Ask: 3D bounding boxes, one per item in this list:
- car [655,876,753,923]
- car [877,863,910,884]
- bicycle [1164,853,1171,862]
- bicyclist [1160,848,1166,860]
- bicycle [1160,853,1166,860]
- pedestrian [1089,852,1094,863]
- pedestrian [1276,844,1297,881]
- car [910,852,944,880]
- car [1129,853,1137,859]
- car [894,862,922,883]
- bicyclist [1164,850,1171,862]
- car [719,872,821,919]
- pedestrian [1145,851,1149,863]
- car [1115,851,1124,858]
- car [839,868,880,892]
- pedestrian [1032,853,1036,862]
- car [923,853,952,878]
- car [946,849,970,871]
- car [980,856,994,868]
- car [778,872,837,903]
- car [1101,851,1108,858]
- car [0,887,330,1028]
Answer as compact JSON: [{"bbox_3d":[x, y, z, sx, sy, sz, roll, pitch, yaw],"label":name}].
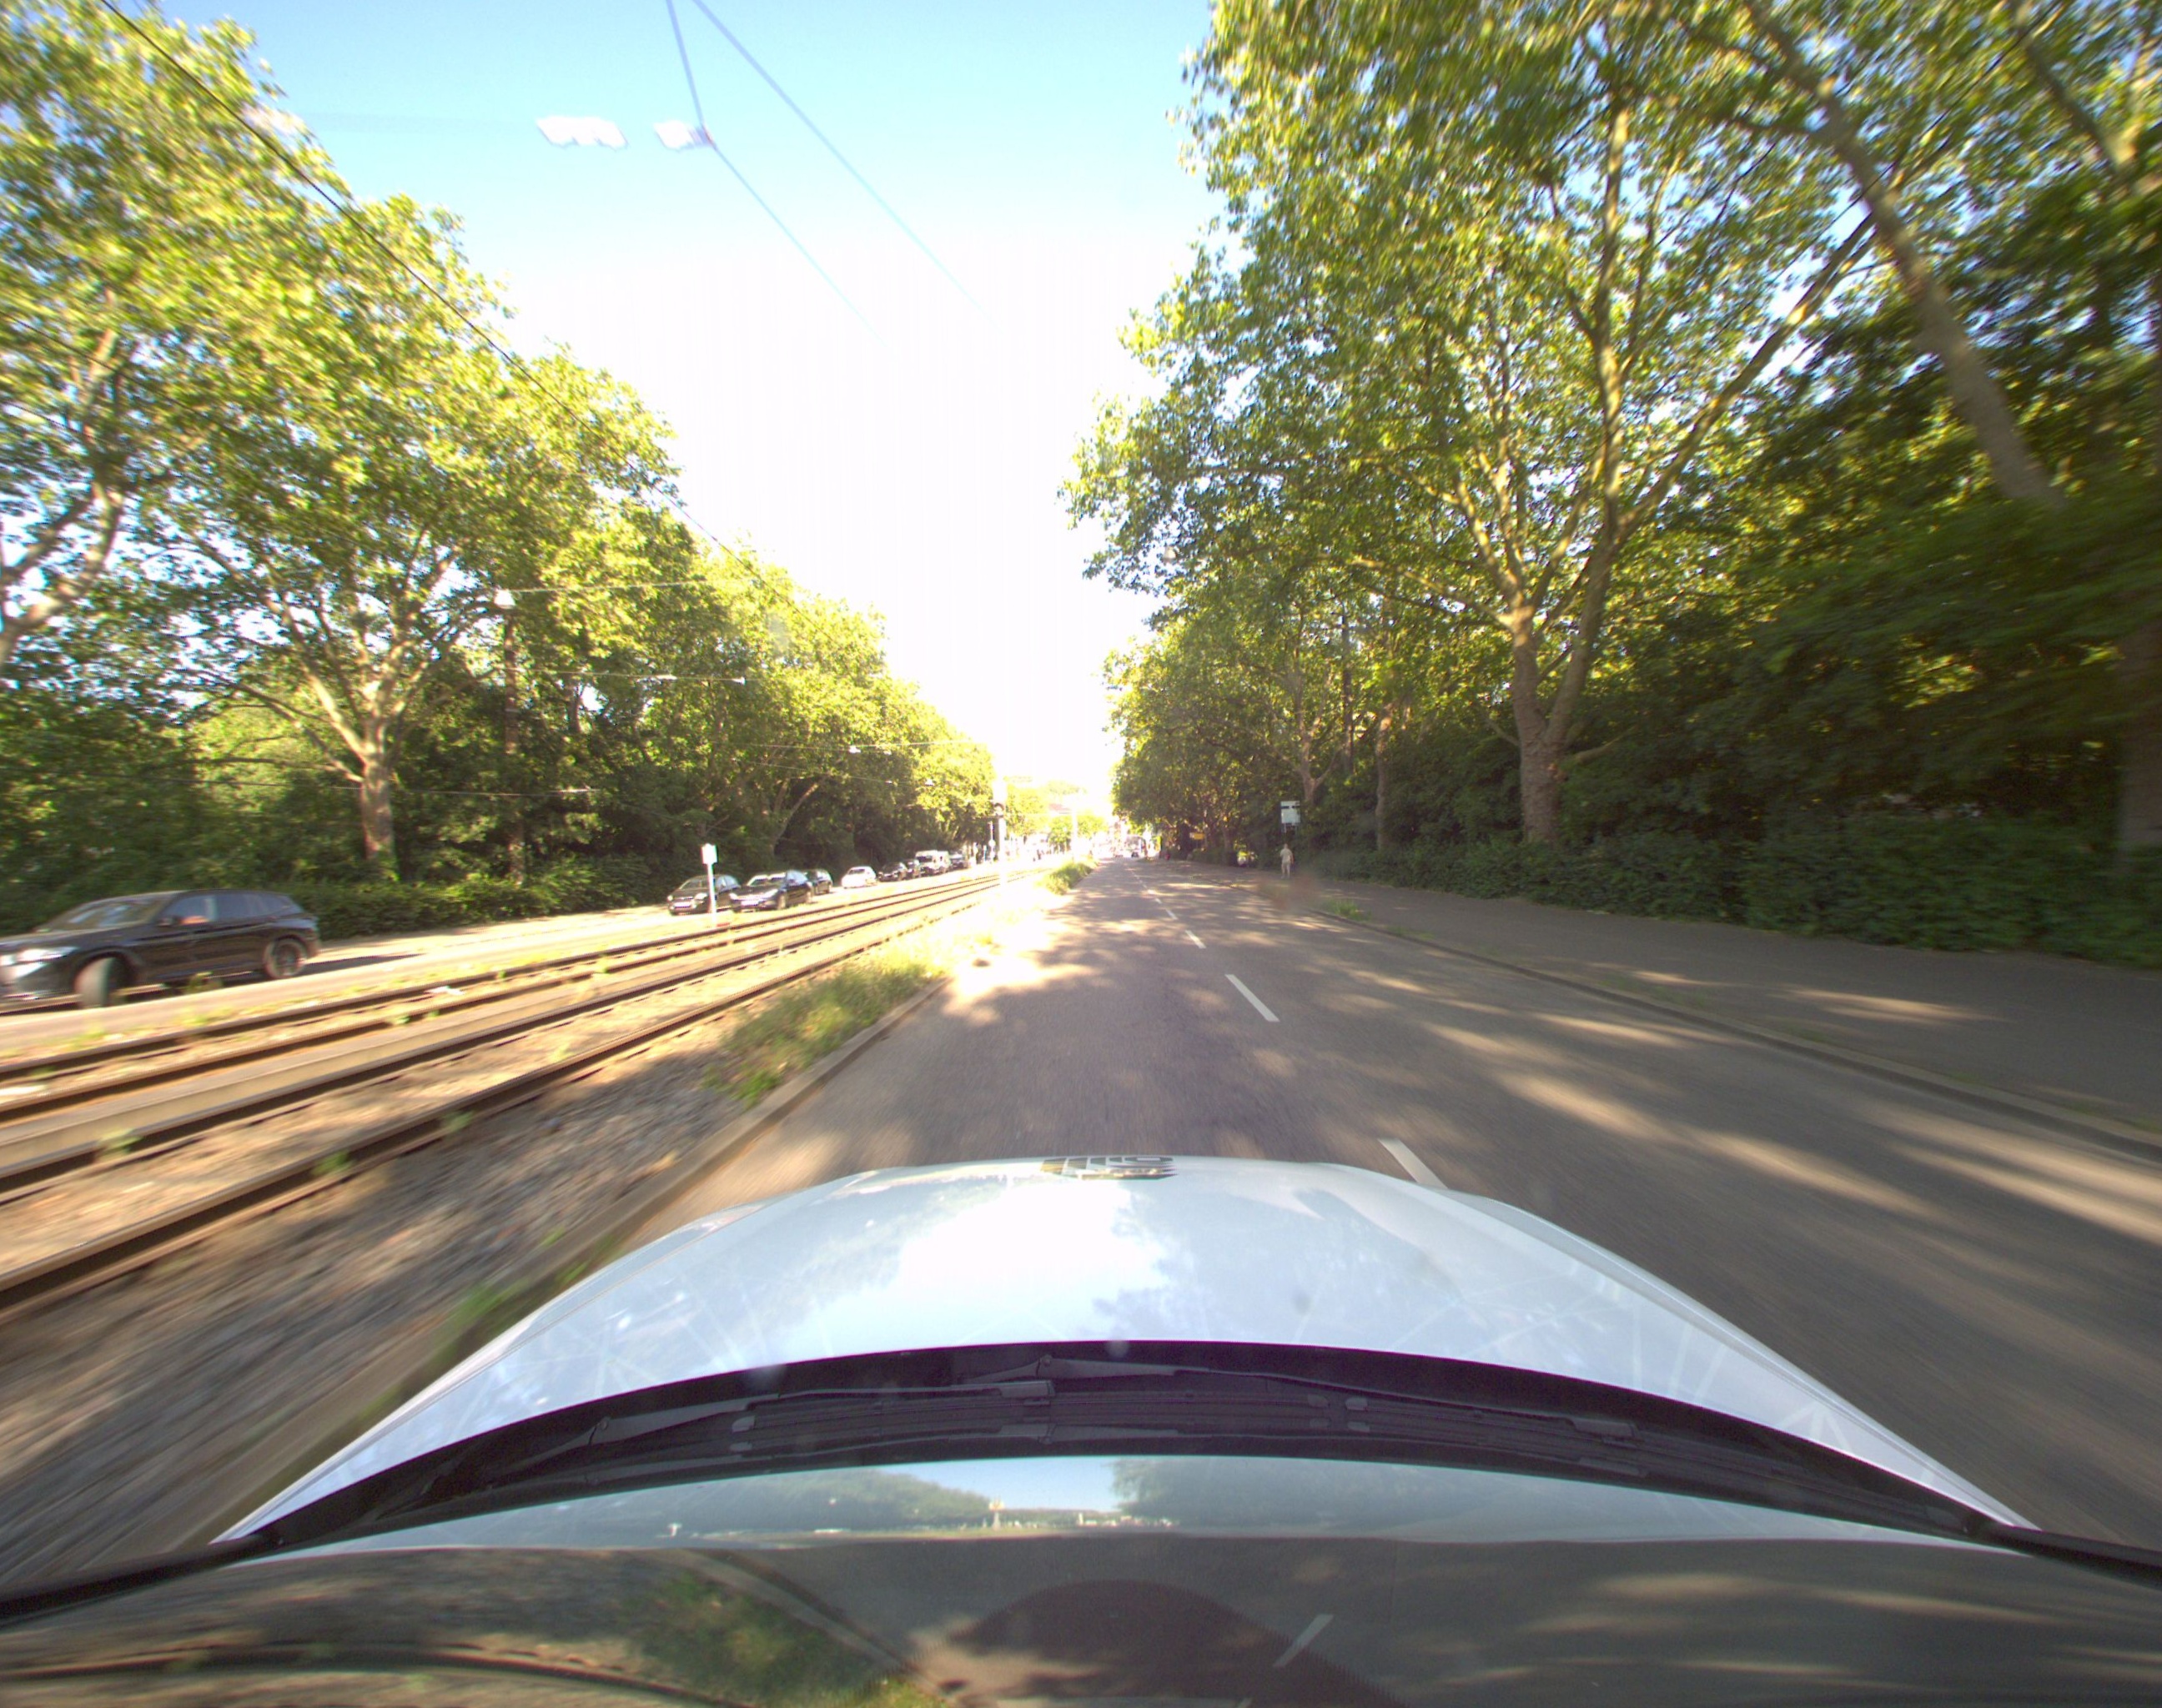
[{"bbox_3d":[-14.842,1.743,32.351,1.822,1.505,4.392,-4,0,-1],"label":"car"},{"bbox_3d":[-15.598,1.608,67.904,1.734,1.555,3.880,-4,0,-1],"label":"car"},{"bbox_3d":[11.076,0.492,104.317,0.763,1.107,1.800,-2,0,1],"label":"bicycle"},{"bbox_3d":[12.905,0.011,128.339,0.697,1.728,1.080,-2,0,0],"label":"bicyclist"},{"bbox_3d":[12.917,0.390,128.336,0.697,1.107,1.929,-2,0,0],"label":"bicycle"},{"bbox_3d":[1.530,0.490,117.720,0.515,1.568,0.511,-4,0,31],"label":"pedestrian"},{"bbox_3d":[9.505,0.400,37.685,0.645,1.635,0.928,-4,0,2],"label":"pedestrian"},{"bbox_3d":[-15.591,1.202,82.697,2.177,2.520,6.047,-4,0,-1],"label":"car"},{"bbox_3d":[11.884,0.445,186.741,1.794,1.439,4.045,-1,0,1],"label":"car"},{"bbox_3d":[-15.754,1.677,74.312,1.734,1.728,3.880,-4,0,-1],"label":"car"},{"bbox_3d":[11.061,0.232,104.322,0.763,1.513,0.650,-2,0,0],"label":"bicyclist"},{"bbox_3d":[-11.533,1.476,30.592,1.914,1.415,4.748,-4,0,0],"label":"car"},{"bbox_3d":[10.934,0.528,135.052,0.654,1.871,0.678,-2,0,0],"label":"pedestrian"},{"bbox_3d":[9.115,0.051,191.776,1.922,1.472,4.855,-2,0,1],"label":"car"},{"bbox_3d":[-15.413,1.797,56.838,1.734,1.436,3.850,-4,0,-1],"label":"car"},{"bbox_3d":[-8.550,0.617,147.694,0.590,1.544,0.627,-1,-1,1],"label":"pedestrian"},{"bbox_3d":[-15.897,1.239,90.666,2.178,2.520,6.266,-4,0,-2],"label":"car"},{"bbox_3d":[-15.915,0.770,105.532,2.177,2.520,6.030,-4,0,-1],"label":"car"},{"bbox_3d":[-14.798,1.236,128.406,1.898,1.652,3.969,-4,0,-2],"label":"car"},{"bbox_3d":[-15.201,1.817,45.489,1.822,1.436,4.322,-4,0,-1],"label":"car"},{"bbox_3d":[5.780,0.104,200.921,1.802,1.452,4.000,-1,0,0],"label":"car"},{"bbox_3d":[-14.992,1.520,13.156,1.824,1.718,4.386,-4,0,-5],"label":"car"}]
